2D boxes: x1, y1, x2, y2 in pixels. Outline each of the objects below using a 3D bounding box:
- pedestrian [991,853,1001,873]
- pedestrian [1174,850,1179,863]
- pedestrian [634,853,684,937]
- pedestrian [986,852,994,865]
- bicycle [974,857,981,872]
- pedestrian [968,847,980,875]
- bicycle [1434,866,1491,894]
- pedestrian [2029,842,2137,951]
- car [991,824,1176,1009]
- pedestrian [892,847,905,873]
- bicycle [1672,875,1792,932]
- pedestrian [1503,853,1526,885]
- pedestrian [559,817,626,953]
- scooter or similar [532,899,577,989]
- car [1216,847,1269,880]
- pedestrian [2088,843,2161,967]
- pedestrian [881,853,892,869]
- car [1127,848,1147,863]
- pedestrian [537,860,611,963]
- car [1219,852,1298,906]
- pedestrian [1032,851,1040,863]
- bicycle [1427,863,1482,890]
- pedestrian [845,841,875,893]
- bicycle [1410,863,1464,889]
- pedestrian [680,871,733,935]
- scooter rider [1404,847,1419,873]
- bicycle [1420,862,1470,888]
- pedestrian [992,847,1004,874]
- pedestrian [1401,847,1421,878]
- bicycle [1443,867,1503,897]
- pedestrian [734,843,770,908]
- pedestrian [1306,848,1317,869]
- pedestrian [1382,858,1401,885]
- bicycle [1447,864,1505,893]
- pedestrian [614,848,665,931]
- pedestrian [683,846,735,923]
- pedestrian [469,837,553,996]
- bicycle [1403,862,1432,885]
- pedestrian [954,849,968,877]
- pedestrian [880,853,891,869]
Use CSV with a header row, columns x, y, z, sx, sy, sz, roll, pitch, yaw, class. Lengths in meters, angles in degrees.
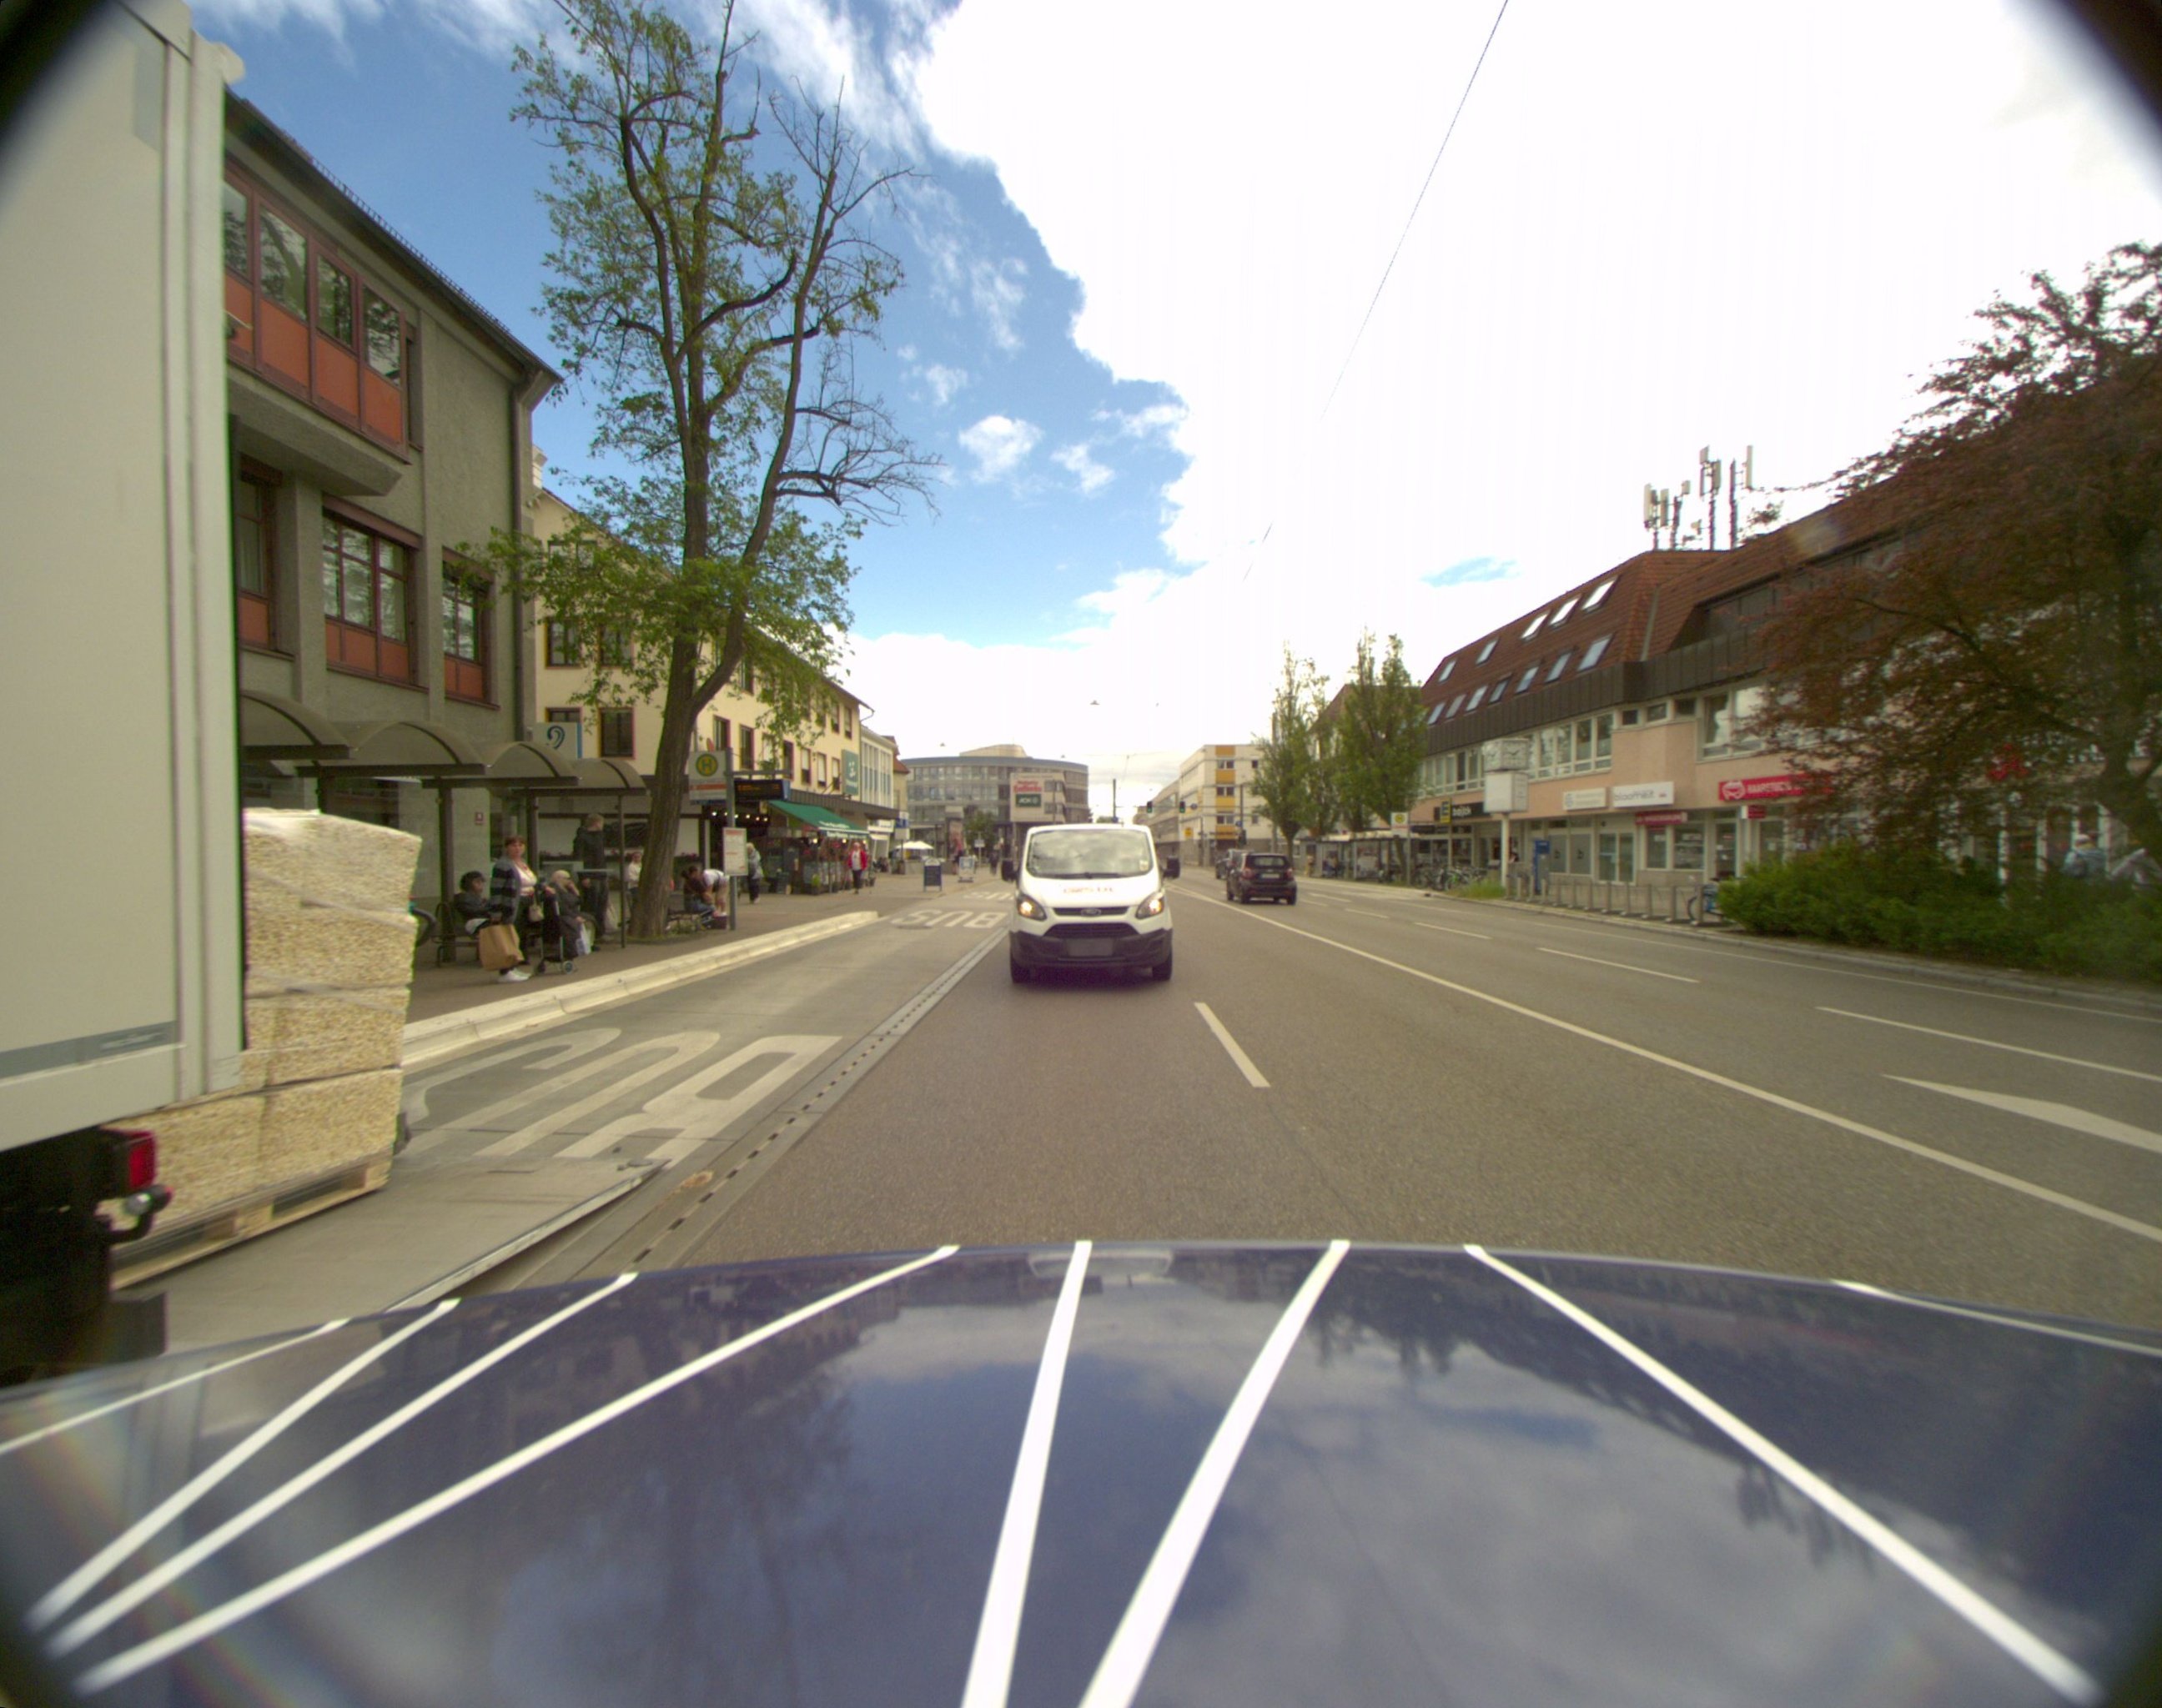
x,y,z,sx,sy,sz,roll,pitch,yaw,class
-6.697,0.701,59.785,0.689,1.625,0.853,0,0,0,pedestrian
14.078,0.354,111.971,0.587,1.792,0.526,-3,0,0,pedestrian
-8.030,0.770,14.453,0.673,1.558,0.492,-1,-1,21,pedestrian
-11.983,0.628,100.041,0.847,1.625,0.643,-3,0,-33,pedestrian
-7.539,0.746,55.574,0.274,1.047,1.387,0,0,2,bicycle
-6.280,0.422,44.712,0.614,1.625,0.615,1,1,-2,pedestrian
15.165,1.039,30.211,2.024,1.084,0.648,0,1,-9,bicycle
16.989,0.706,12.903,0.727,1.753,0.755,-4,0,5,pedestrian
0.174,0.687,10.770,1.998,2.002,5.000,-1,0,4,car
-11.857,0.382,49.446,0.668,1.625,0.800,0,0,-2,pedestrian
12.987,0.967,15.176,2.024,1.084,0.648,0,1,-9,bicycle
20.675,0.710,36.229,0.713,1.538,0.588,-1,0,-1,pedestrian
-7.550,0.467,11.759,0.614,2.035,0.588,2,2,14,pedestrian
-5.908,0.996,8.528,0.386,0.953,0.354,0,1,-40,scooter or similar
9.177,0.501,43.547,2.074,1.728,4.693,2,0,1,car
15.900,0.734,11.325,0.727,1.754,0.755,-3,0,-2,pedestrian
-14.543,0.520,56.923,0.614,1.213,0.588,-3,0,-2,pedestrian
6.131,0.177,83.319,1.879,1.497,4.343,1,1,1,car
-7.174,0.790,10.768,0.614,1.393,0.588,2,2,14,pedestrian
5.364,0.713,23.312,1.574,1.531,2.959,1,0,-3,car
-6.079,0.356,102.642,0.808,1.637,0.886,0,1,-34,pedestrian
15.446,0.910,31.415,2.024,1.084,0.648,0,1,-9,bicycle
-7.574,0.442,26.038,0.797,1.732,0.781,2,2,-5,pedestrian
15.211,0.923,32.471,2.024,1.084,0.649,0,1,-4,bicycle
-7.070,0.912,14.373,0.714,1.159,0.587,-1,0,-6,pedestrian
21.660,0.380,49.812,0.614,1.702,0.588,-3,0,-3,scooter rider
16.015,0.918,33.393,2.025,1.084,0.648,-1,1,-13,bicycle
-5.326,0.420,48.688,0.613,1.668,0.615,1,1,3,pedestrian
19.237,0.509,44.297,0.727,1.754,0.755,-3,0,-2,pedestrian
14.775,1.034,28.628,2.024,1.084,0.648,0,1,-9,bicycle
-9.136,0.585,21.128,0.684,1.732,0.781,2,2,-5,pedestrian
18.332,0.391,60.361,0.587,1.625,0.615,-3,0,-2,pedestrian
16.176,0.910,39.603,0.713,1.356,0.588,-1,0,2,pedestrian
15.342,0.944,29.513,2.024,1.084,0.648,0,1,-9,bicycle
-8.745,0.691,15.062,0.614,1.625,0.588,-1,1,5,pedestrian
-8.168,0.658,16.707,0.614,1.625,0.795,3,1,12,pedestrian
-6.138,0.651,8.210,0.537,1.625,0.587,-3,0,-24,pedestrian
16.994,0.967,38.429,0.535,1.084,1.930,-1,0,-2,bicycle
-7.046,0.498,44.620,0.720,1.625,0.615,1,1,-2,pedestrian
-14.496,0.522,56.293,0.614,1.213,0.588,1,0,-2,pedestrian
